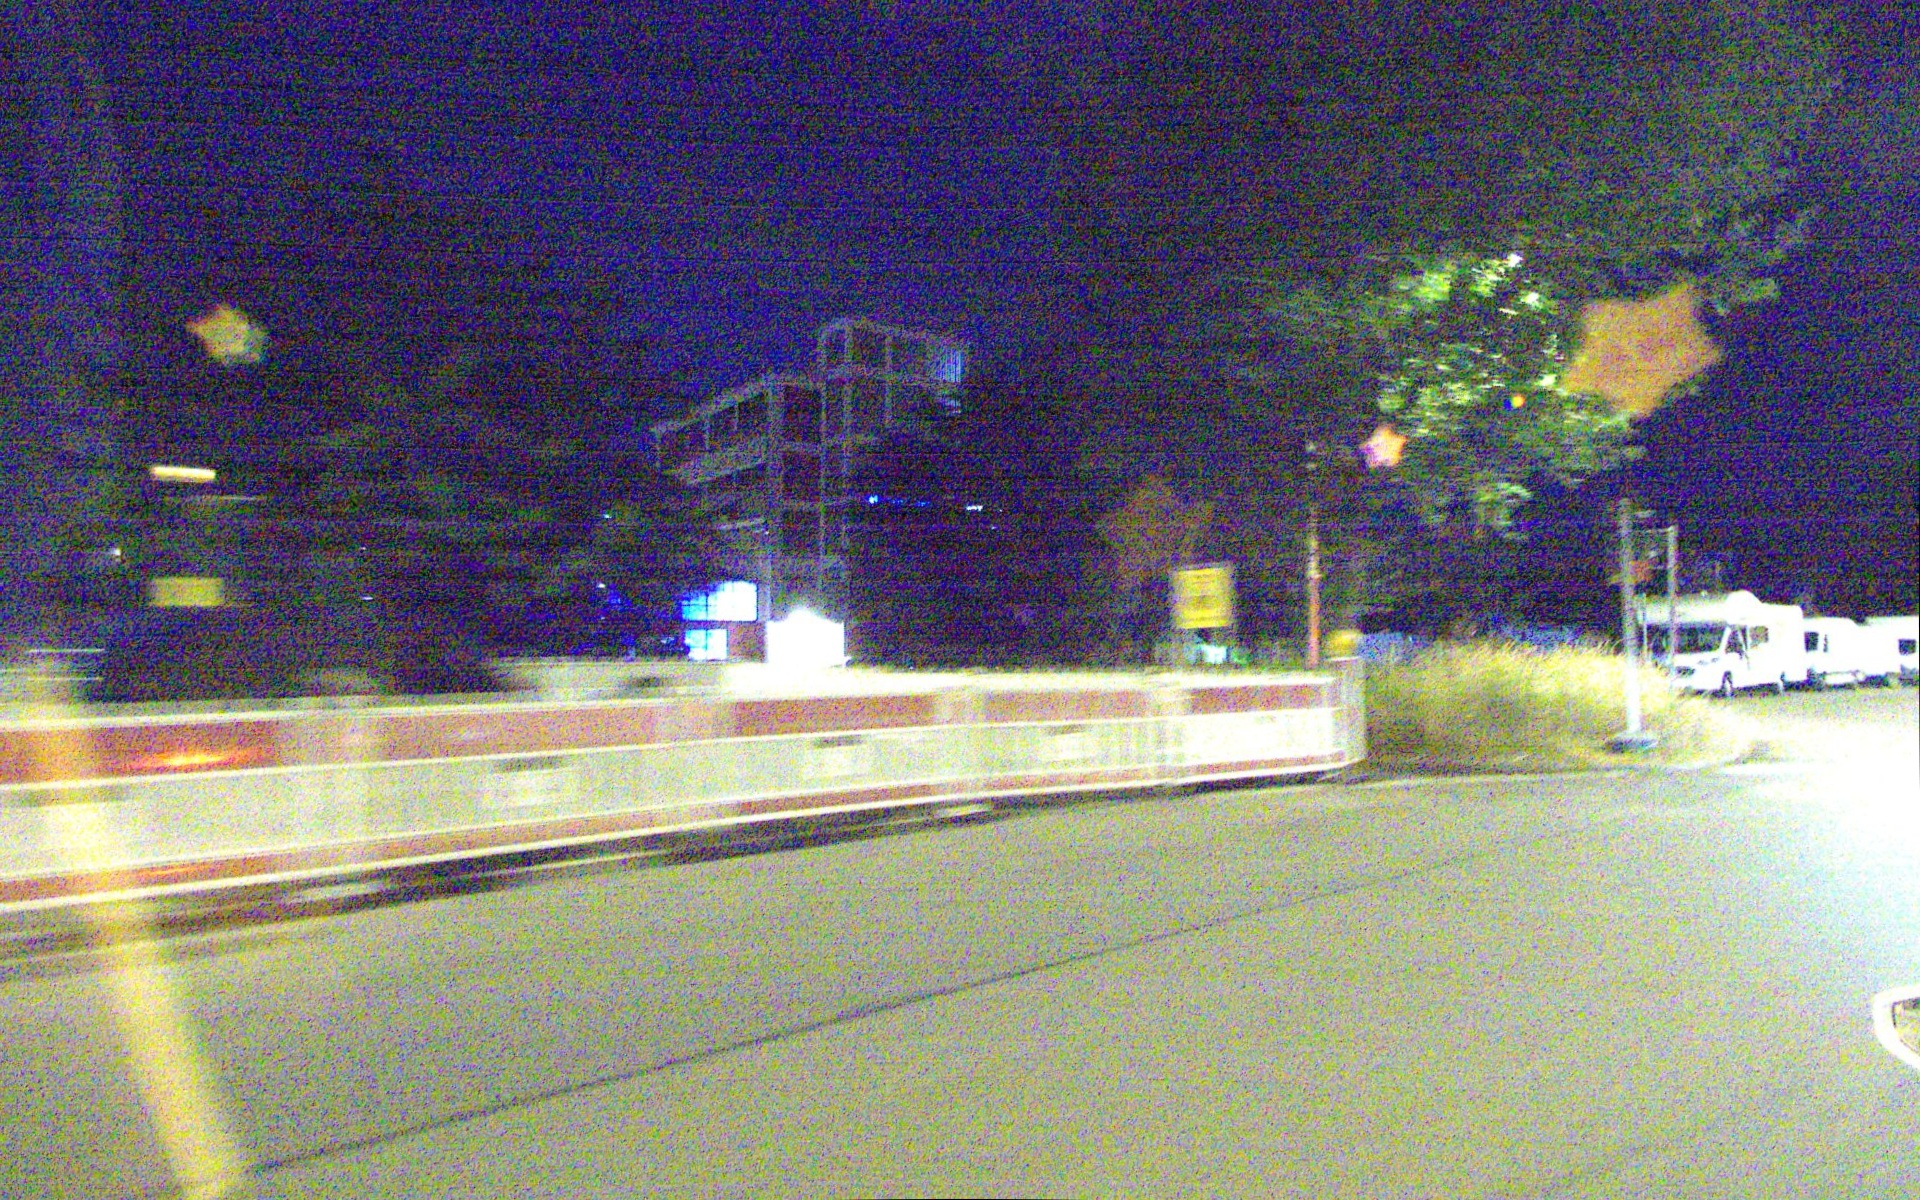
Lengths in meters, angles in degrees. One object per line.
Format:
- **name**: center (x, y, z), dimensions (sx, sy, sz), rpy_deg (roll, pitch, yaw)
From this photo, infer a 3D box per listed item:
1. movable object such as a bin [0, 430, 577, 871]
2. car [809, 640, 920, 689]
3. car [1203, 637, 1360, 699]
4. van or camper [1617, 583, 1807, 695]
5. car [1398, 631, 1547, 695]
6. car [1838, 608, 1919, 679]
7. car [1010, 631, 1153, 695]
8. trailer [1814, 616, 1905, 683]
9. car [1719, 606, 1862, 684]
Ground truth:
- **movable object such as a bin**: center (-5.232, 0.373, 8.104), dimensions (3.674, 2.769, 1.556), rpy_deg (1, -4, -43)
- **car**: center (-3.963, 2.617, 41.339), dimensions (4.403, 1.909, 1.996), rpy_deg (1, 0, -11)
- **car**: center (14.397, 2.994, 45.005), dimensions (6.562, 2.588, 1.996), rpy_deg (1, 0, -12)
- **van or camper**: center (23.588, 1.249, 31.384), dimensions (7.370, 3.134, 2.503), rpy_deg (2, -3, -35)
- **car**: center (24.517, 2.976, 48.082), dimensions (6.562, 2.880, 1.996), rpy_deg (1, 0, -12)
- **car**: center (42.049, 1.967, 45.142), dimensions (7.136, 2.965, 2.501), rpy_deg (2, -4, -38)
- **car**: center (5.198, 2.675, 43.259), dimensions (5.774, 2.588, 1.996), rpy_deg (1, 0, -12)
- **trailer**: center (36.561, 2.006, 40.809), dimensions (3.533, 2.560, 1.980), rpy_deg (1, -3, -36)
- **car**: center (30.611, 1.672, 36.931), dimensions (7.027, 2.640, 2.501), rpy_deg (2, -4, -38)
